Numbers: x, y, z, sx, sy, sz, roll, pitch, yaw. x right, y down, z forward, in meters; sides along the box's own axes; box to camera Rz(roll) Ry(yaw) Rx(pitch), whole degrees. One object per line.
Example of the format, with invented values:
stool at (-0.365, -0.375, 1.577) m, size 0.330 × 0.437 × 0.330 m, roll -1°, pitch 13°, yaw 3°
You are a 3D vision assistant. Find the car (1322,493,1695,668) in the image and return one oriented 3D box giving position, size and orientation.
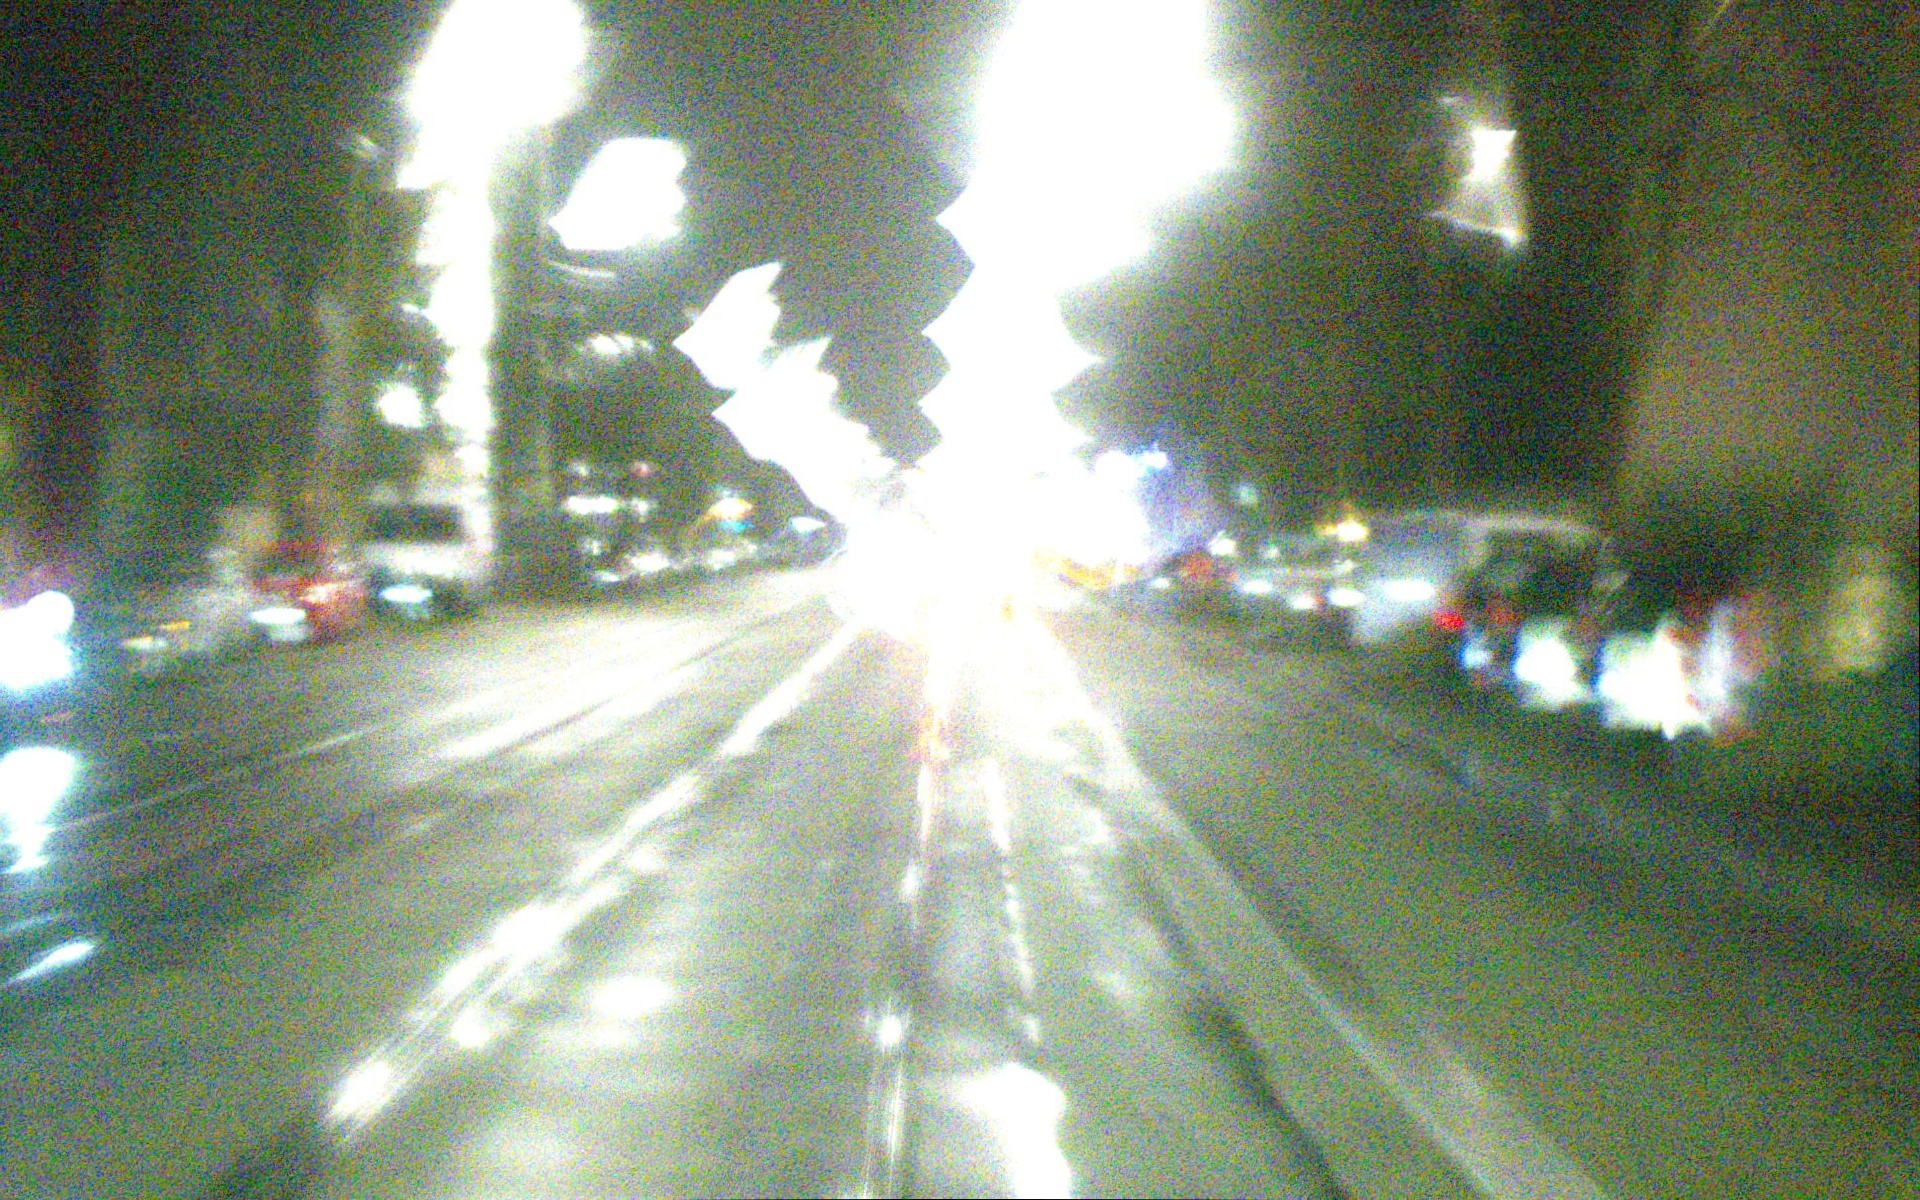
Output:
car at (6.355, -0.207, 39.595) m, size 4.162 × 1.833 × 1.962 m, roll 1°, pitch 2°, yaw -41°

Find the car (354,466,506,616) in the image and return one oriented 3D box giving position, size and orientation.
car at (-9.514, -1.087, 62.131) m, size 2.024 × 2.490 × 5.608 m, roll 3°, pitch 1°, yaw -3°

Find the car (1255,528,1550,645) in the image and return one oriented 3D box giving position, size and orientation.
car at (5.944, -0.216, 45.830) m, size 1.691 × 1.399 × 4.447 m, roll 3°, pitch 3°, yaw 41°

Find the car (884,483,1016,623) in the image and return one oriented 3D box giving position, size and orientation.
car at (-0.233, -0.883, 63.430) m, size 2.216 × 2.433 × 5.385 m, roll 1°, pitch 1°, yaw -2°

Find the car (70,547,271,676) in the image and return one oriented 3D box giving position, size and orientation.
car at (-9.435, 0.109, 41.348) m, size 1.609 × 1.423 × 3.809 m, roll 2°, pitch 1°, yaw -2°

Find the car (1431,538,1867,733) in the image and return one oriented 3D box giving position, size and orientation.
car at (5.745, 0.250, 28.411) m, size 1.806 × 1.483 × 3.846 m, roll 1°, pitch 1°, yaw 42°

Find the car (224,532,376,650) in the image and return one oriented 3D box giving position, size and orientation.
car at (-9.575, -0.162, 50.115) m, size 1.641 × 1.502 × 3.620 m, roll 2°, pitch 3°, yaw -3°

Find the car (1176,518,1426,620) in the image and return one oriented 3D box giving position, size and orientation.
car at (5.534, -0.492, 55.507) m, size 3.878 × 1.528 × 1.821 m, roll 1°, pitch 2°, yaw -41°

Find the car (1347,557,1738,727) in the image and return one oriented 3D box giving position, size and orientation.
car at (5.450, 0.388, 31.914) m, size 3.825 × 1.433 × 1.599 m, roll 1°, pitch 1°, yaw -45°

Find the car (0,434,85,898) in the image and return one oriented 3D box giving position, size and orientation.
car at (-4.737, 0.304, 12.427) m, size 1.938 × 1.809 × 4.385 m, roll -1°, pitch 2°, yaw 1°

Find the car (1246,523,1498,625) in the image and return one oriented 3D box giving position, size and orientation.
car at (6.341, -0.384, 52.713) m, size 1.820 × 1.428 × 3.845 m, roll 3°, pitch 1°, yaw 45°

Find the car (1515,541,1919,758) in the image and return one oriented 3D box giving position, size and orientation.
car at (6.039, 0.362, 25.524) m, size 3.779 × 1.453 × 1.769 m, roll 1°, pitch 1°, yaw -42°

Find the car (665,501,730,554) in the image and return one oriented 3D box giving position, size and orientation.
car at (-9.521, -2.618, 124.998) m, size 2.022 × 1.755 × 4.000 m, roll 3°, pitch 0°, yaw -1°

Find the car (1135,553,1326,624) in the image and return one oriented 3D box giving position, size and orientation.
car at (6.156, -0.252, 77.894) m, size 4.237 × 1.449 × 1.950 m, roll 1°, pitch 1°, yaw -44°

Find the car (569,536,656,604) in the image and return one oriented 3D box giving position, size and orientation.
car at (-9.717, -0.827, 96.410) m, size 2.108 × 1.758 × 4.966 m, roll 3°, pitch 0°, yaw -3°

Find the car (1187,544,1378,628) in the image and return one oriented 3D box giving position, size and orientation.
car at (6.756, -0.278, 71.802) m, size 2.054 × 1.618 × 3.819 m, roll 3°, pitch 1°, yaw 42°

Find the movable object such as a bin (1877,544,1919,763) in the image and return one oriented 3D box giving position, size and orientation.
movable object such as a bin at (6.812, 0.348, 22.230) m, size 1.347 × 1.402 × 1.027 m, roll 0°, pitch 1°, yaw -20°

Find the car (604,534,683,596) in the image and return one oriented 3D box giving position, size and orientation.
car at (-9.608, -1.060, 104.753) m, size 1.999 × 1.779 × 4.000 m, roll 3°, pitch 0°, yaw -1°

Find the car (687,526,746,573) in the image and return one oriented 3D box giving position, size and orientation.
car at (-9.608, -1.981, 135.871) m, size 2.022 × 1.755 × 4.000 m, roll 3°, pitch 0°, yaw -1°
